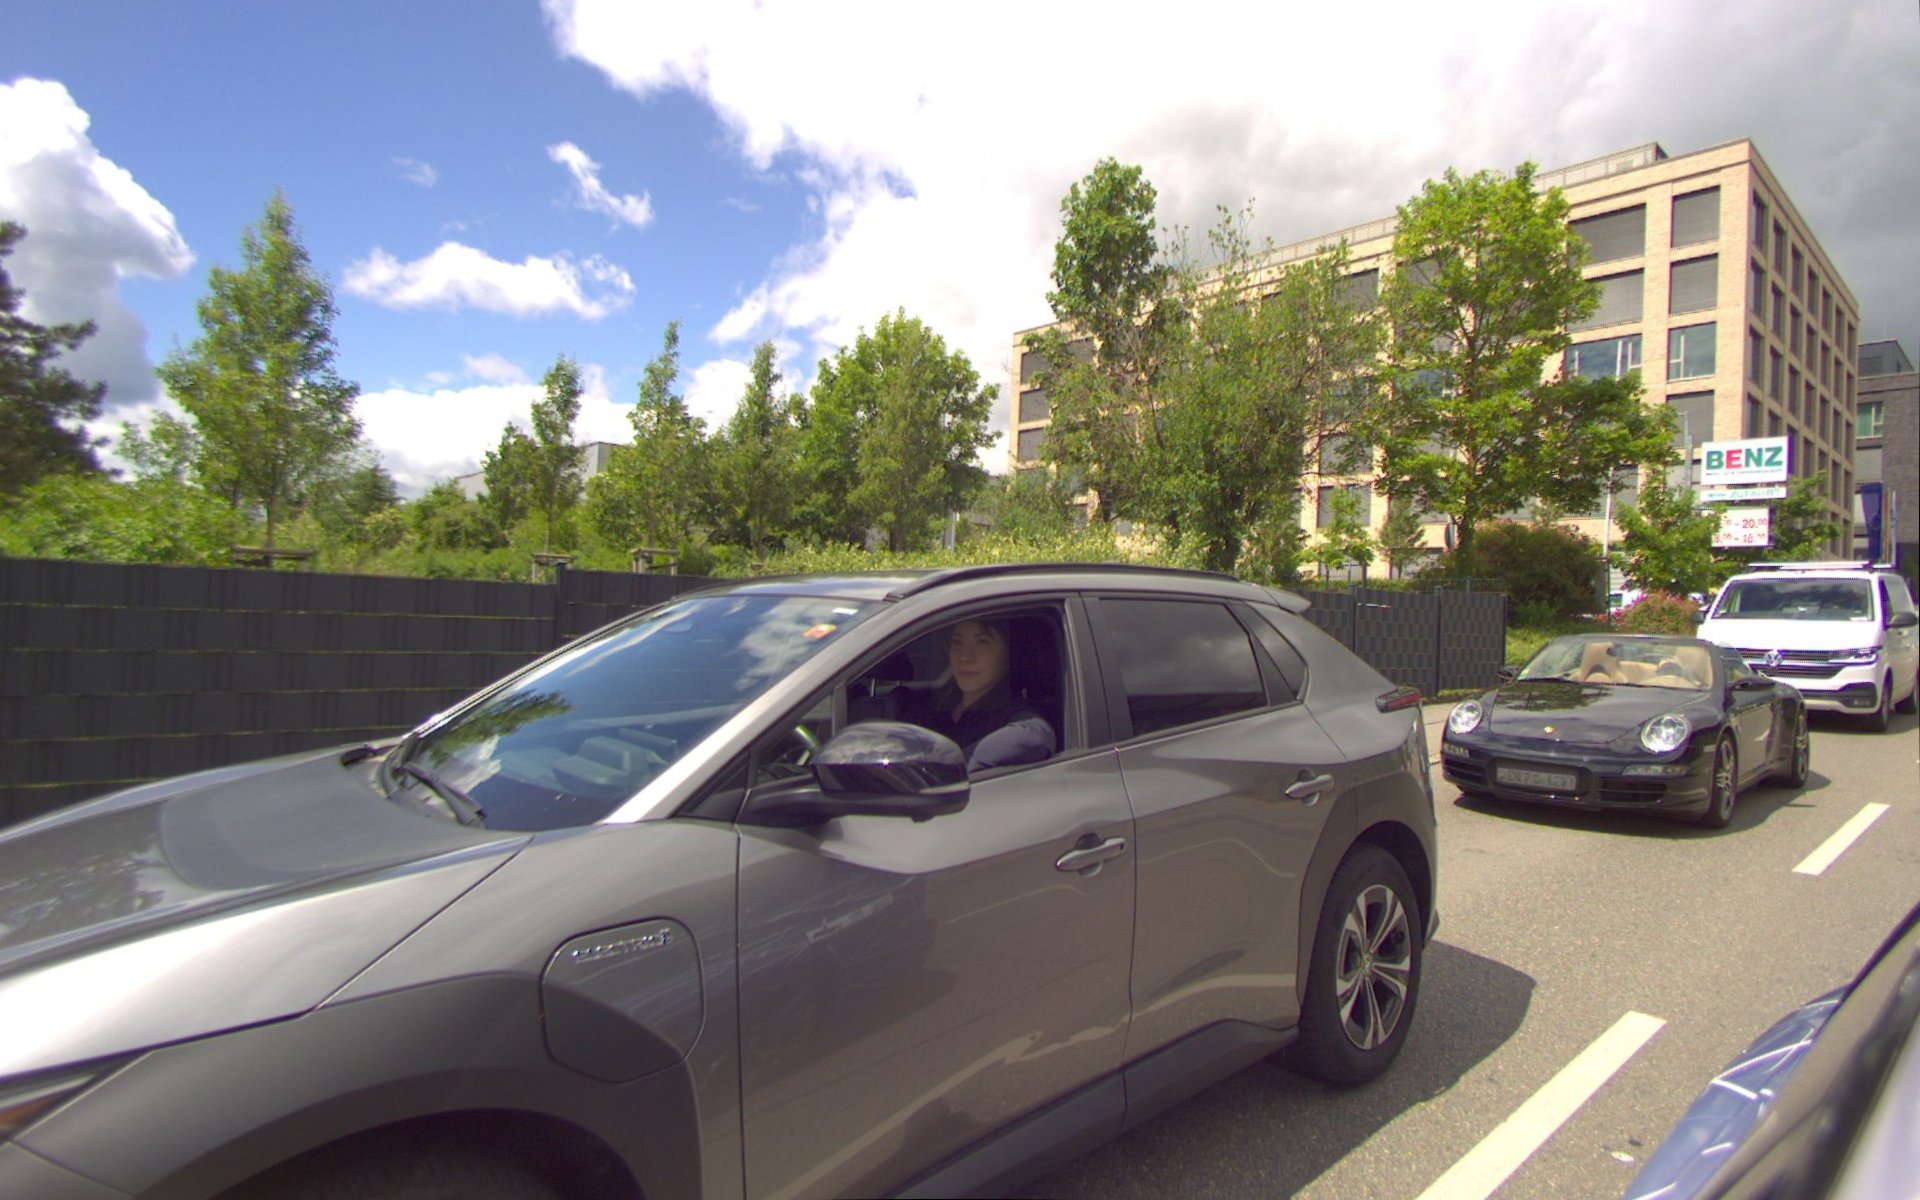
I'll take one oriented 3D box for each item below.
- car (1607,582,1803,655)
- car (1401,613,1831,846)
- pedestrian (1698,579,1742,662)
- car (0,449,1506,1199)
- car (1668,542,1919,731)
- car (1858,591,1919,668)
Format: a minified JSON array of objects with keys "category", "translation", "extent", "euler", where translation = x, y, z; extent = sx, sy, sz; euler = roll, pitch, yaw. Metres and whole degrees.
[{"category":"car","translation":[19.967,0.420,27.244],"extent":[1.793,1.754,3.991],"euler":[0,2,-44]},{"category":"car","translation":[5.308,0.789,7.990],"extent":[3.967,1.310,1.823],"euler":[0,0,-41]},{"category":"pedestrian","translation":[15.735,0.406,20.952],"extent":[0.435,1.678,0.631],"euler":[0,1,-42]},{"category":"car","translation":[-0.359,0.647,2.934],"extent":[4.501,1.649,1.997],"euler":[0,1,-42]},{"category":"car","translation":[11.340,0.389,13.460],"extent":[4.677,2.075,2.087],"euler":[0,0,-41]},{"category":"car","translation":[20.245,0.575,21.059],"extent":[3.930,1.481,1.817],"euler":[0,2,-41]}]
